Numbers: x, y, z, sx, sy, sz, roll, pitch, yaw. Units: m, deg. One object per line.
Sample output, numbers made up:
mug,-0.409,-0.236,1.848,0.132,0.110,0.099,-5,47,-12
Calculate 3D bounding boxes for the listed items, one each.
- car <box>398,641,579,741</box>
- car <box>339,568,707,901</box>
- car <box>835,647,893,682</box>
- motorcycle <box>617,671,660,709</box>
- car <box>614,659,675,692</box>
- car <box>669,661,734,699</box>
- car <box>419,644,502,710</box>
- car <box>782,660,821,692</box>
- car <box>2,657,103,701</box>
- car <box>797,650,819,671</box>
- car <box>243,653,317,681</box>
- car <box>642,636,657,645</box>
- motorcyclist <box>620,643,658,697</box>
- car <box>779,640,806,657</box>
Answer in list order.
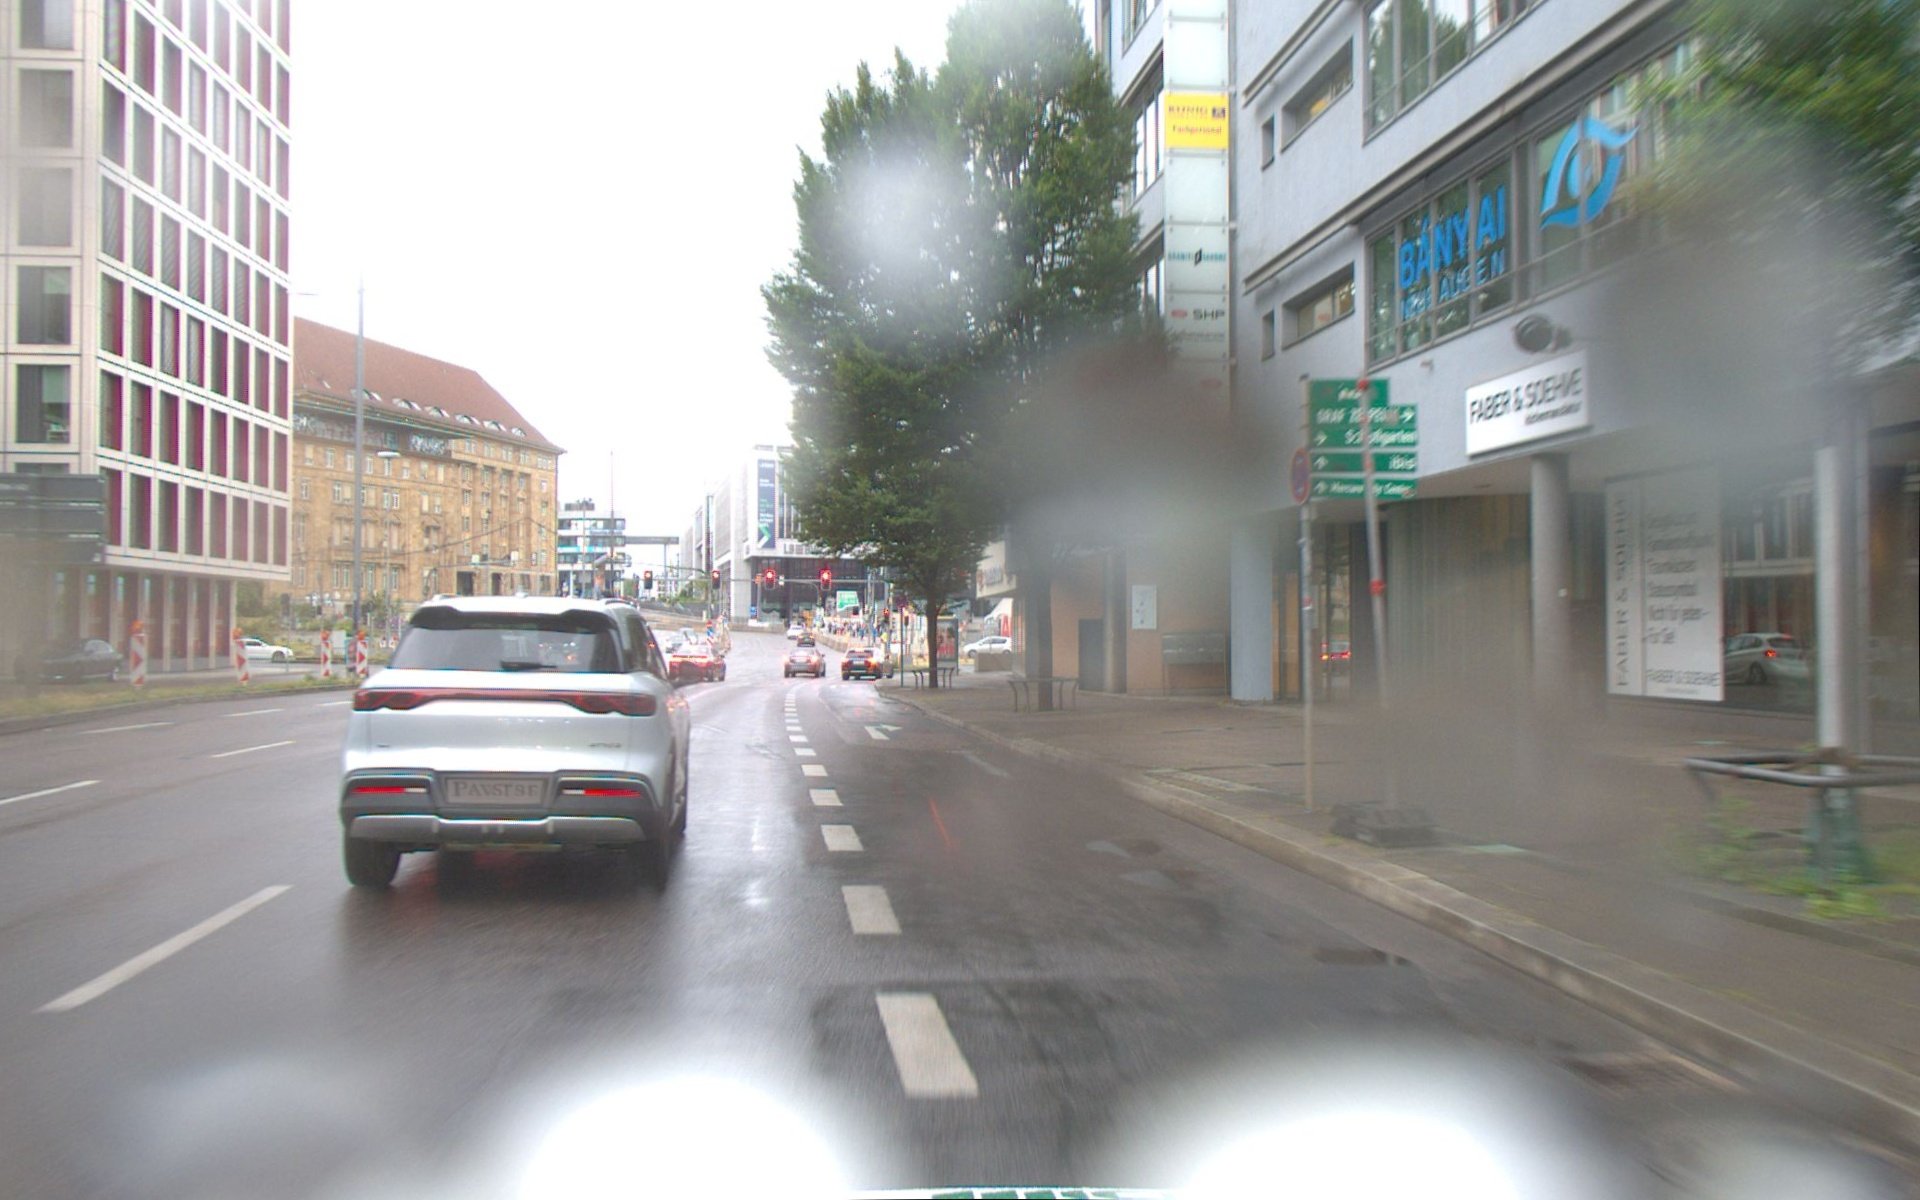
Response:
car,-7.382,1.410,26.338,1.698,1.428,4.381,1,-2,-2
car,-2.558,0.782,10.627,1.774,1.690,4.162,1,-2,-8
car,-4.461,3.016,77.591,1.851,1.571,3.996,1,-2,9
motorcycle,-9.165,2.555,47.292,0.923,1.007,2.292,1,-2,-4
car,-16.379,3.912,86.044,1.745,1.628,4.075,1,-2,10
car,-10.976,3.397,70.571,1.848,1.541,5.002,1,-2,1
car,-13.161,2.027,43.745,1.702,1.644,3.987,2,-2,-12
car,-7.986,3.831,83.676,1.748,1.427,4.483,1,0,-3
car,-31.433,2.714,57.415,1.665,1.449,3.950,-1,-2,-6
car,-15.197,6.074,165.195,1.957,2.049,3.991,1,-2,-9
car,-43.393,4.291,105.648,4.320,1.691,1.986,2,-3,-23
car,-46.639,6.137,248.321,1.733,1.283,4.188,1,-2,-6
motorcyclist,-9.188,2.007,47.389,0.923,1.501,1.099,1,-2,-5
car,-19.620,5.682,193.447,1.969,1.848,3.966,2,-3,-26
